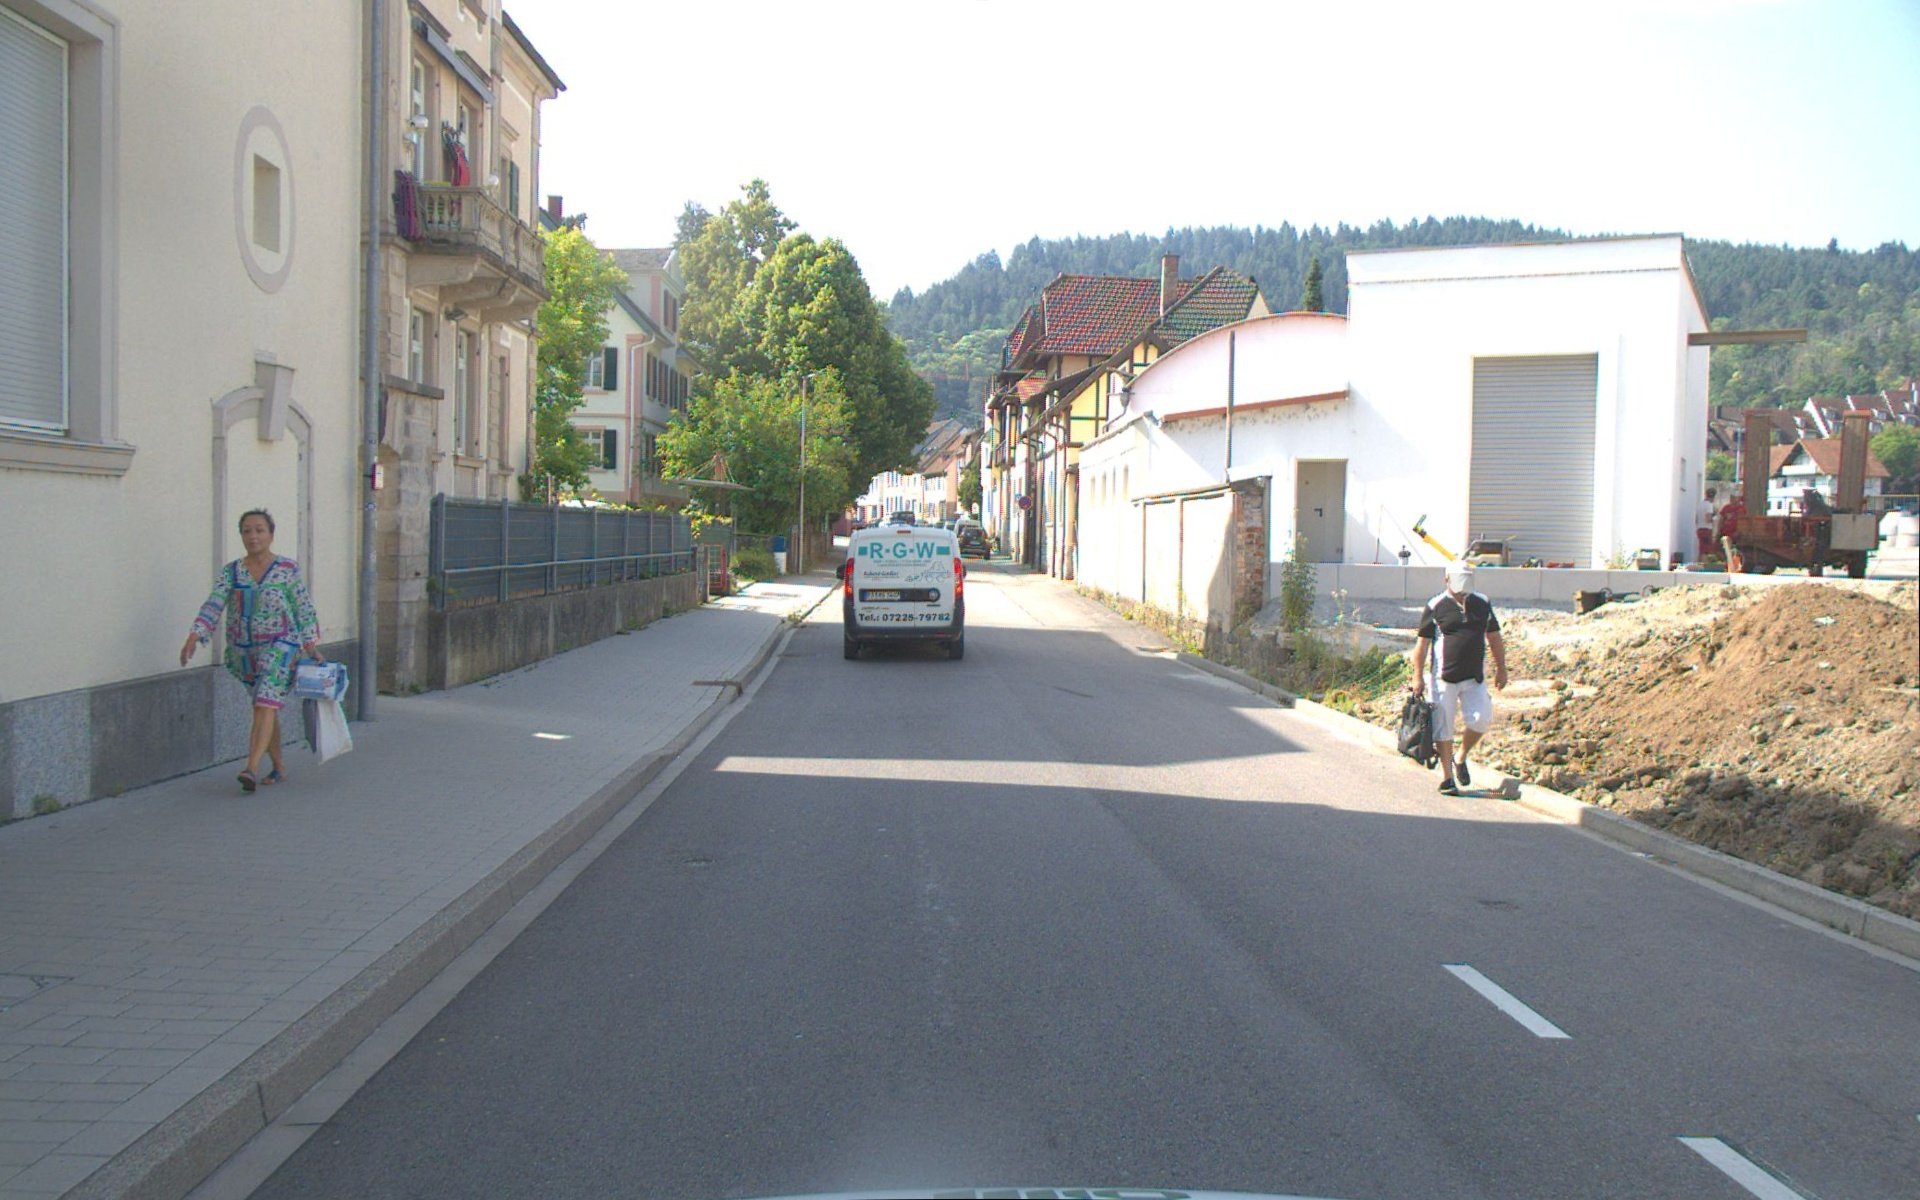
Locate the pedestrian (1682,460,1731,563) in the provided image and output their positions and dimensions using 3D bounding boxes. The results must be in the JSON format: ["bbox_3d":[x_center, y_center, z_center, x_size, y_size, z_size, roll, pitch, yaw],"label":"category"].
[{"bbox_3d":[14.334,-1.701,31.771,0.597,1.929,0.633,5,4,39],"label":"pedestrian"}]

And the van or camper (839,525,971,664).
[{"bbox_3d":[-0.867,-0.175,24.972,1.791,1.876,4.187,-1,3,-3],"label":"van or camper"}]

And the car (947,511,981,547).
[{"bbox_3d":[0.213,-4.213,97.925,1.834,2.048,3.999,1,3,-3],"label":"car"}]

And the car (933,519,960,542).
[{"bbox_3d":[-0.961,-4.836,114.364,1.636,1.534,3.998,0,3,-4],"label":"car"}]

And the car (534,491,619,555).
[{"bbox_3d":[-12.100,-2.440,52.397,1.787,1.802,4.680,4,3,-4],"label":"car"}]

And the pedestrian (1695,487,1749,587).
[{"bbox_3d":[14.972,-1.244,32.504,0.601,1.929,0.628,1,4,-35],"label":"pedestrian"}]

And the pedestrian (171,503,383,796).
[{"bbox_3d":[-4.050,0.275,9.866,0.938,1.659,0.758,1,2,-2],"label":"pedestrian"}]

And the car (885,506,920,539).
[{"bbox_3d":[-3.070,-4.187,88.833,1.774,1.624,3.927,3,3,-2],"label":"car"}]

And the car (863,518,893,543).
[{"bbox_3d":[-9.617,-8.204,194.393,2.822,2.884,6.111,-1,3,-10],"label":"car"}]

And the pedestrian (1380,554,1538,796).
[{"bbox_3d":[3.677,0.532,12.236,0.870,1.712,0.718,2,1,-2],"label":"pedestrian"}]

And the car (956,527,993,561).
[{"bbox_3d":[0.748,-2.975,87.880,1.774,1.624,3.927,3,3,-2],"label":"car"}]

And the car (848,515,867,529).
[{"bbox_3d":[-12.815,-9.785,207.295,1.741,1.830,3.988,0,3,-13],"label":"car"}]

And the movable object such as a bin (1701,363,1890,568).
[{"bbox_3d":[16.762,-2.590,32.994,2.798,3.683,5.725,5,4,30],"label":"movable object such as a bin"}]
